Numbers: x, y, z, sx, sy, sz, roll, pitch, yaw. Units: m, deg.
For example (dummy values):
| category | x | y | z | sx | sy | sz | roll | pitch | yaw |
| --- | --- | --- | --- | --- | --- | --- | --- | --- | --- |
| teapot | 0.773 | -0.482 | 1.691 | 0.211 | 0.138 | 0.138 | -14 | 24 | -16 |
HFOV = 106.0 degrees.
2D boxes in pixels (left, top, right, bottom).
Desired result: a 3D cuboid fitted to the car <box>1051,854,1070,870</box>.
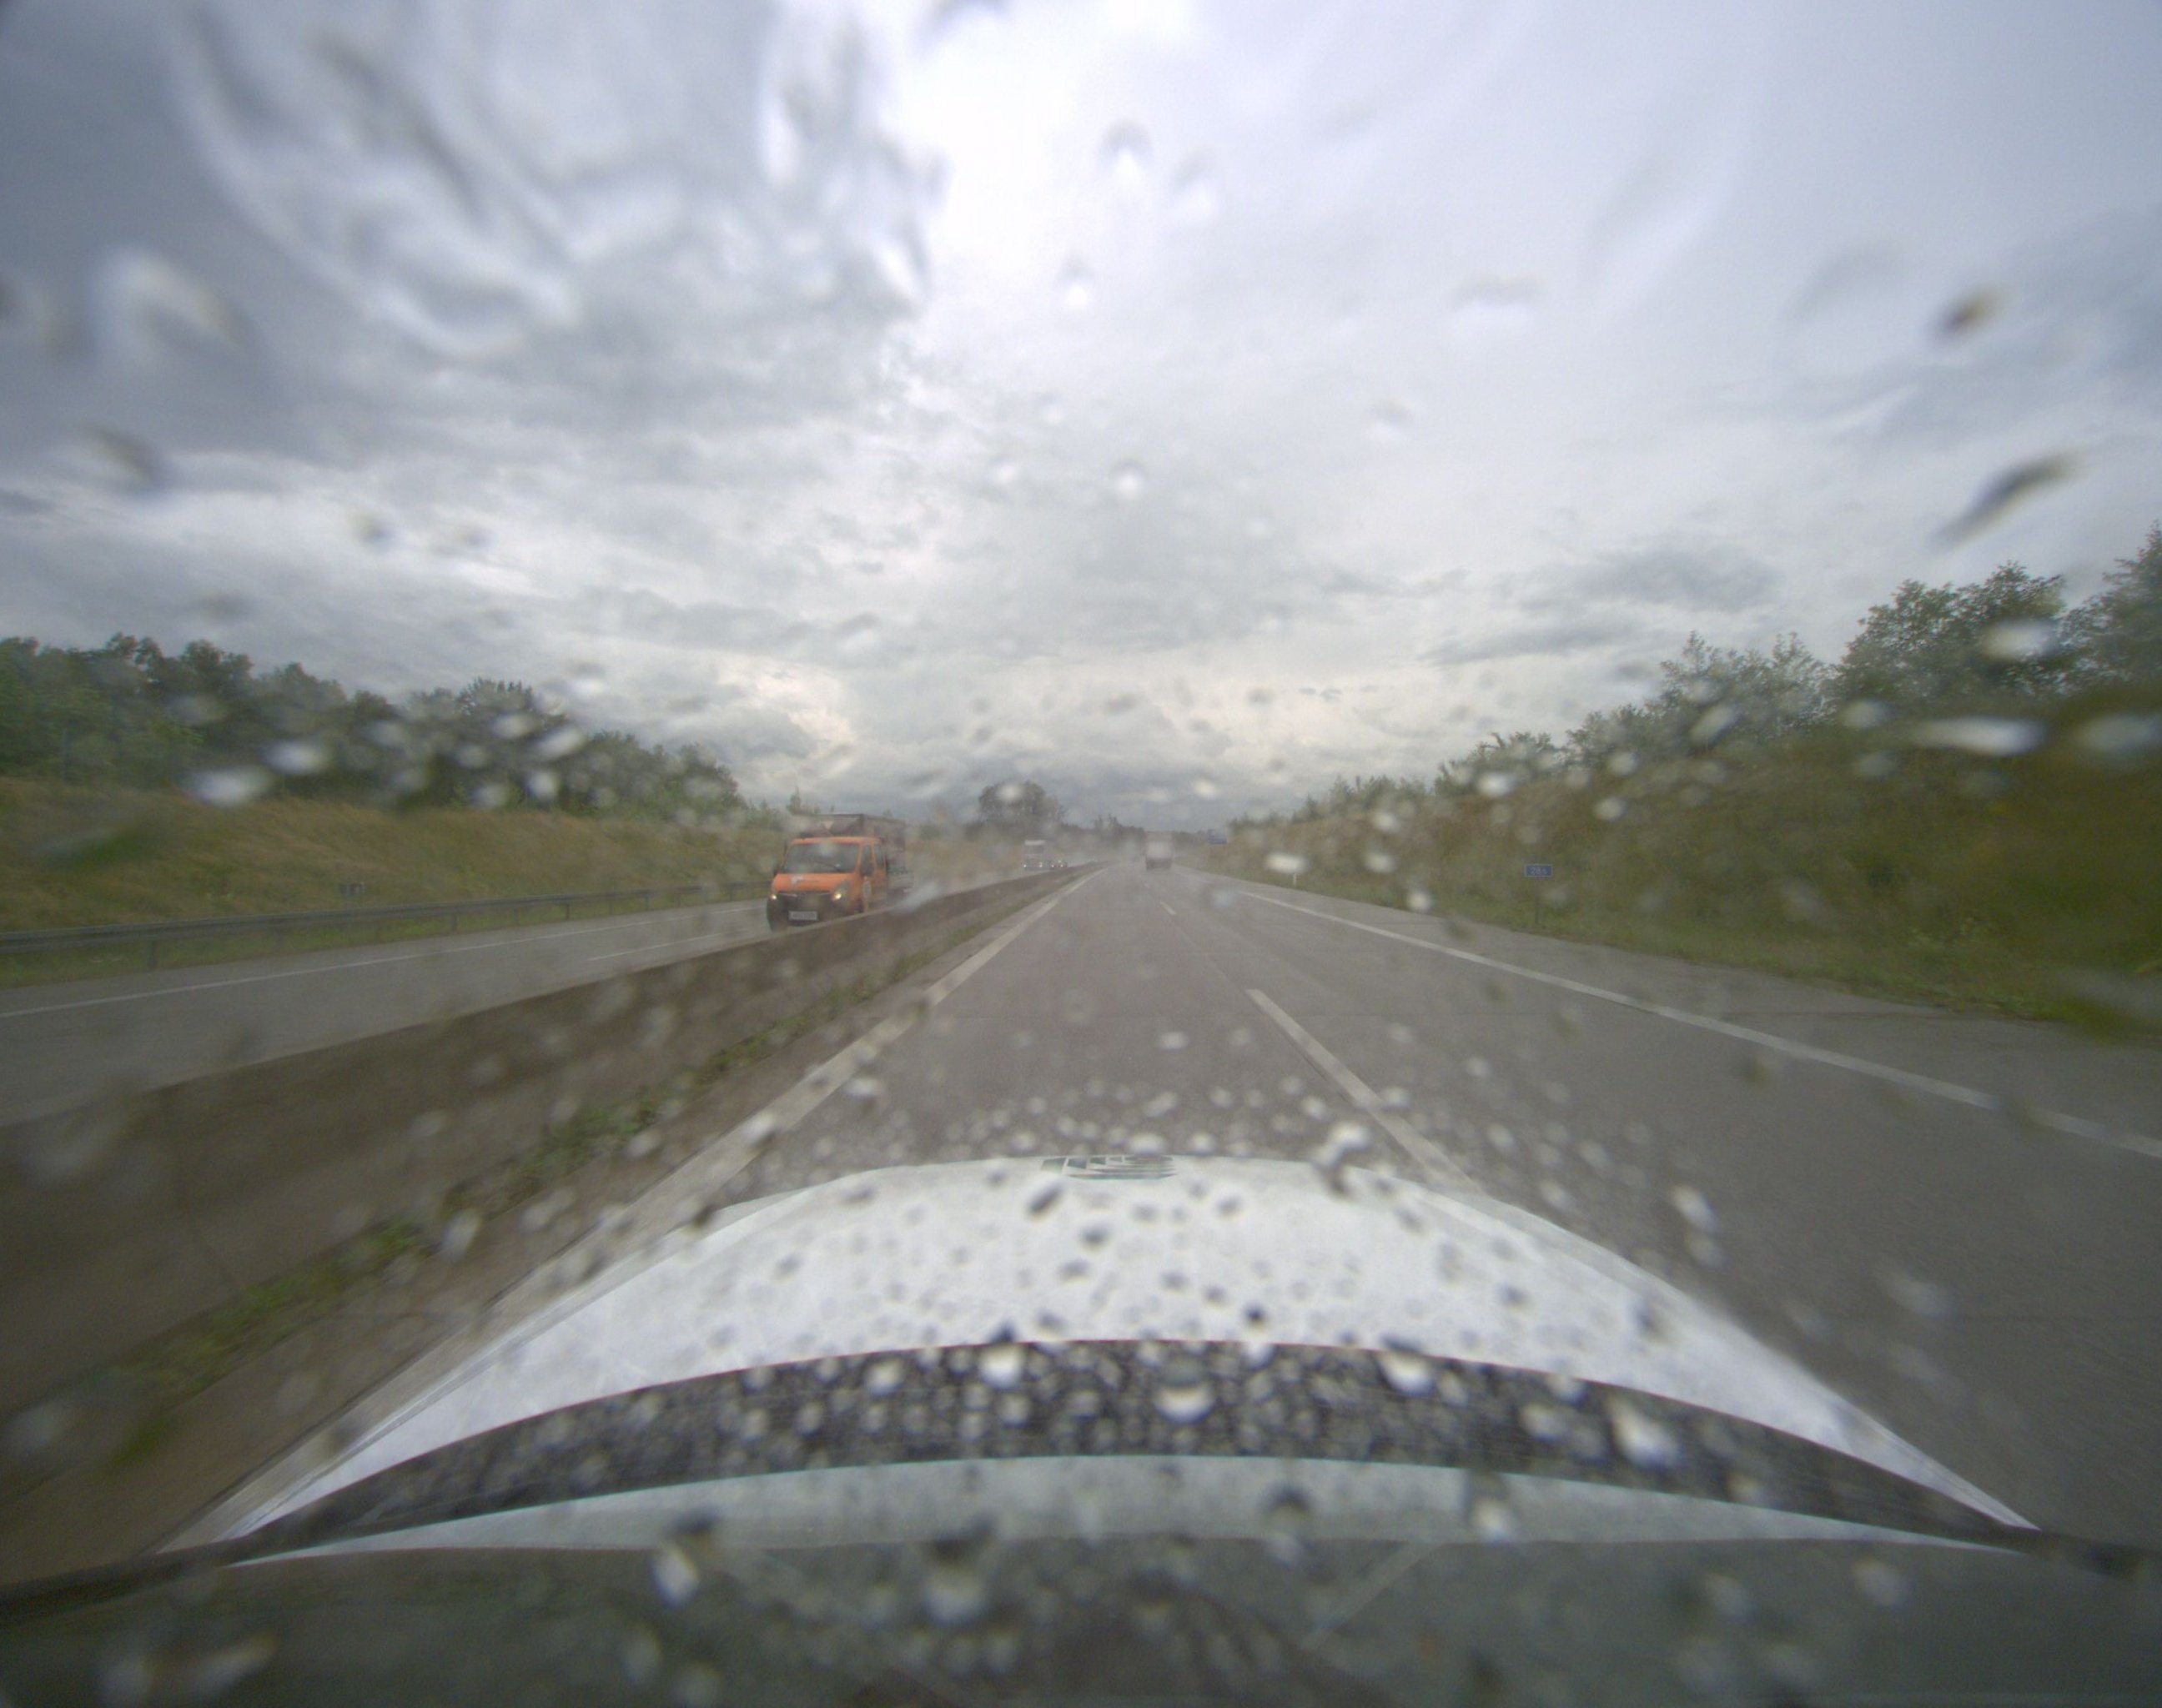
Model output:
| category | x | y | z | sx | sy | sz | roll | pitch | yaw |
| --- | --- | --- | --- | --- | --- | --- | --- | --- | --- |
| car | -2.111 | 0.838 | 85.686 | 1.654 | 1.486 | 4.003 | -3 | 0 | 3 |

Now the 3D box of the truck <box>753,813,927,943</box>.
| category | x | y | z | sx | sy | sz | roll | pitch | yaw |
| --- | --- | --- | --- | --- | --- | --- | --- | --- | --- |
| truck | -5.824 | 0.534 | 20.778 | 2.323 | 2.782 | 6.164 | -1 | 0 | 2 |

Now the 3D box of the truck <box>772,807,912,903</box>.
| category | x | y | z | sx | sy | sz | roll | pitch | yaw |
| --- | --- | --- | --- | --- | --- | --- | --- | --- | --- |
| truck | -9.898 | 0.044 | 34.897 | 3.156 | 3.533 | 8.370 | -1 | 0 | 2 |

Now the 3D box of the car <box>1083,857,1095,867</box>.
| category | x | y | z | sx | sy | sz | roll | pitch | yaw |
| --- | --- | --- | --- | --- | --- | --- | --- | --- | --- |
| car | 1.493 | 1.507 | 149.602 | 1.985 | 1.518 | 4.194 | -3 | 2 | 4 |

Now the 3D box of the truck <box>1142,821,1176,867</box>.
| category | x | y | z | sx | sy | sz | roll | pitch | yaw |
| --- | --- | --- | --- | --- | --- | --- | --- | --- | --- |
| truck | 7.871 | -1.012 | 82.856 | 3.229 | 4.436 | 8.256 | -1 | 1 | 4 |
